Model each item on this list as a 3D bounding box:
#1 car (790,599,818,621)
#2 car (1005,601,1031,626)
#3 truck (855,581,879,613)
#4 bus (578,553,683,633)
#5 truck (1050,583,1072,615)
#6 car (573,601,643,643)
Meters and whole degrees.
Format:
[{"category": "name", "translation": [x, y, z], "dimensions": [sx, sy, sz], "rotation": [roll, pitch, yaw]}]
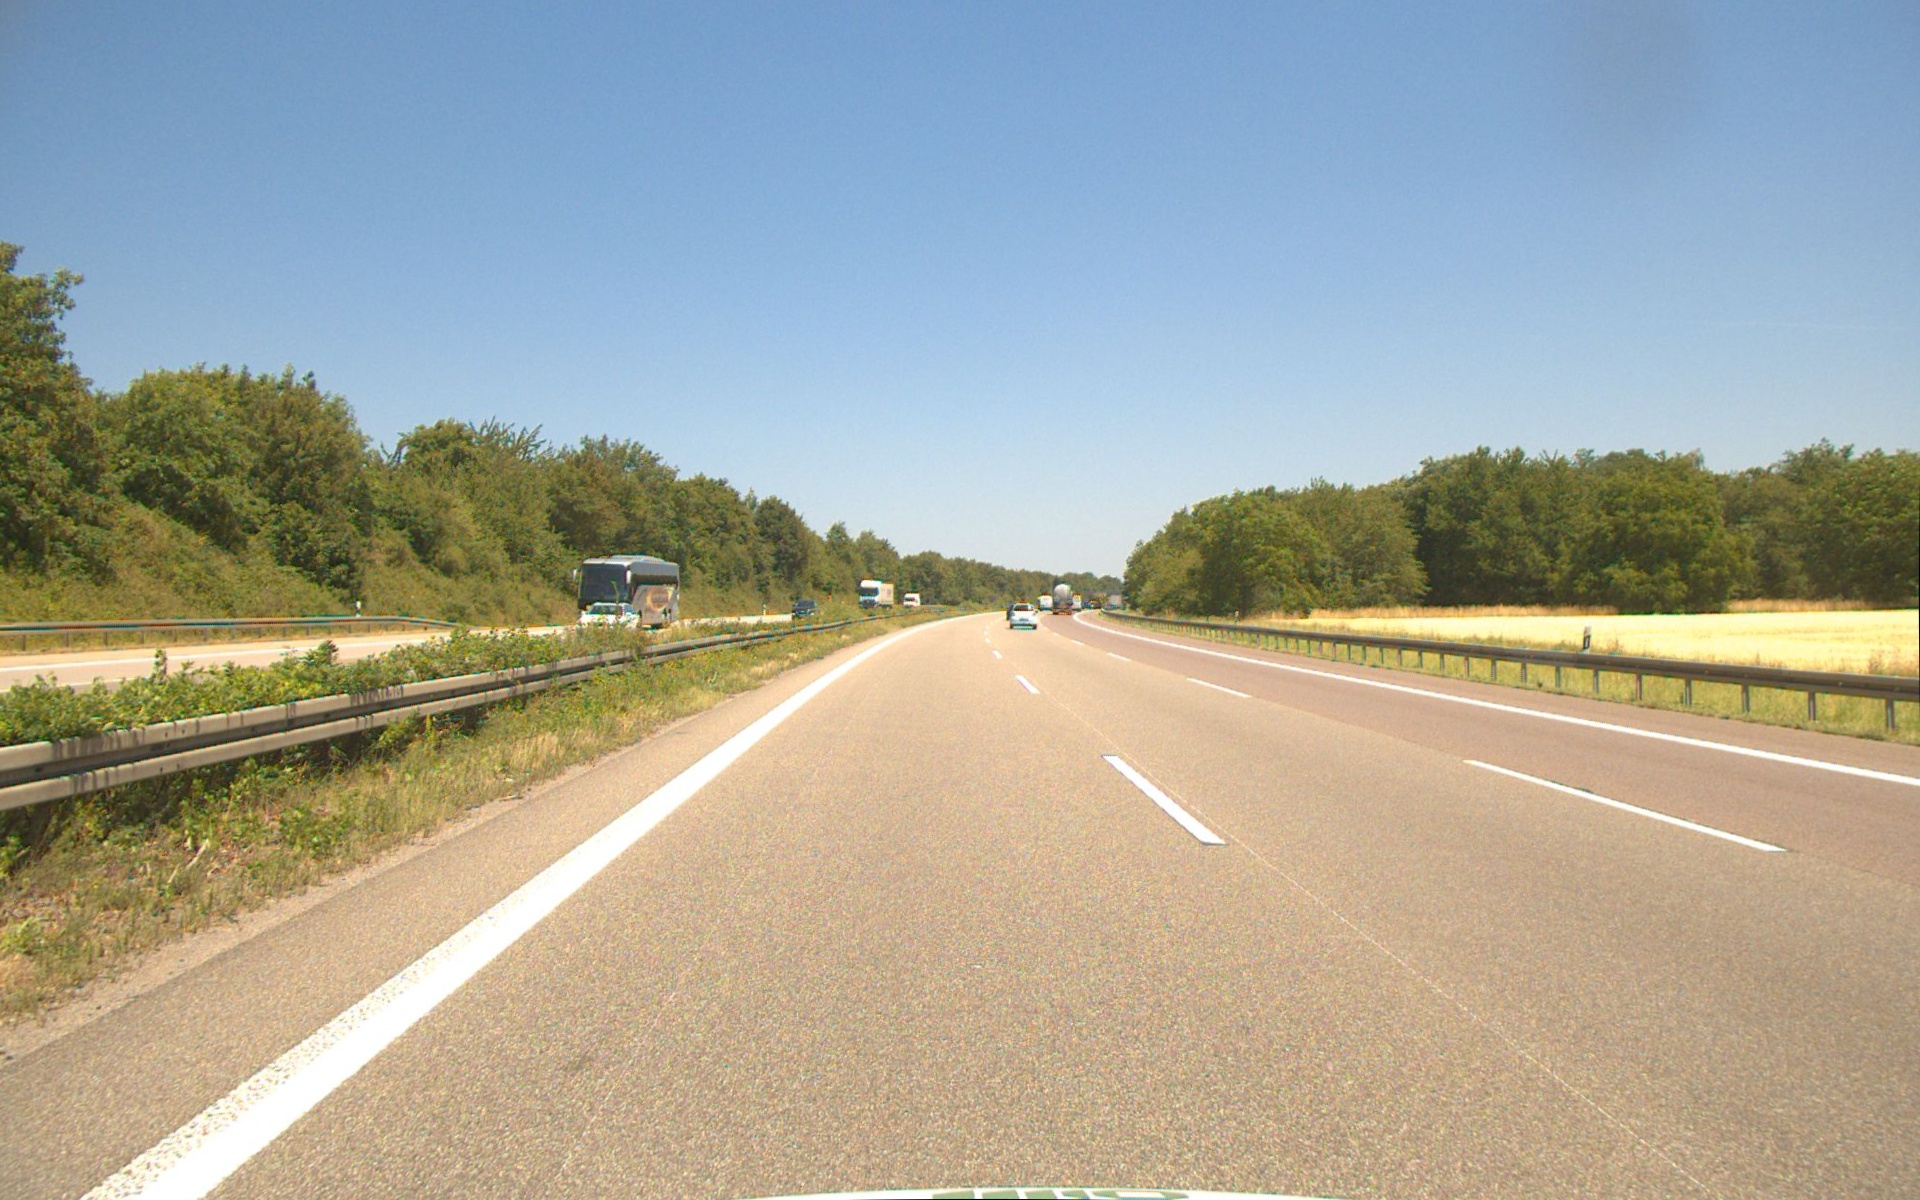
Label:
[{"category": "car", "translation": [-12.290, 0.771, 130.443], "dimensions": [1.788, 1.660, 4.559], "rotation": [0, 0, 0]}, {"category": "car", "translation": [3.597, 0.849, 102.124], "dimensions": [1.593, 1.505, 4.001], "rotation": [0, 0, 2]}, {"category": "truck", "translation": [-11.915, -0.364, 212.172], "dimensions": [2.646, 4.035, 4.443], "rotation": [0, 0, 1]}, {"category": "bus", "translation": [-16.787, -0.322, 85.193], "dimensions": [2.685, 3.772, 12.999], "rotation": [1, 0, 0]}, {"category": "truck", "translation": [13.409, -0.144, 220.113], "dimensions": [2.682, 4.123, 10.457], "rotation": [0, 0, 3]}, {"category": "car", "translation": [-13.640, 0.831, 64.319], "dimensions": [1.731, 1.541, 4.331], "rotation": [1, 0, 0]}]
